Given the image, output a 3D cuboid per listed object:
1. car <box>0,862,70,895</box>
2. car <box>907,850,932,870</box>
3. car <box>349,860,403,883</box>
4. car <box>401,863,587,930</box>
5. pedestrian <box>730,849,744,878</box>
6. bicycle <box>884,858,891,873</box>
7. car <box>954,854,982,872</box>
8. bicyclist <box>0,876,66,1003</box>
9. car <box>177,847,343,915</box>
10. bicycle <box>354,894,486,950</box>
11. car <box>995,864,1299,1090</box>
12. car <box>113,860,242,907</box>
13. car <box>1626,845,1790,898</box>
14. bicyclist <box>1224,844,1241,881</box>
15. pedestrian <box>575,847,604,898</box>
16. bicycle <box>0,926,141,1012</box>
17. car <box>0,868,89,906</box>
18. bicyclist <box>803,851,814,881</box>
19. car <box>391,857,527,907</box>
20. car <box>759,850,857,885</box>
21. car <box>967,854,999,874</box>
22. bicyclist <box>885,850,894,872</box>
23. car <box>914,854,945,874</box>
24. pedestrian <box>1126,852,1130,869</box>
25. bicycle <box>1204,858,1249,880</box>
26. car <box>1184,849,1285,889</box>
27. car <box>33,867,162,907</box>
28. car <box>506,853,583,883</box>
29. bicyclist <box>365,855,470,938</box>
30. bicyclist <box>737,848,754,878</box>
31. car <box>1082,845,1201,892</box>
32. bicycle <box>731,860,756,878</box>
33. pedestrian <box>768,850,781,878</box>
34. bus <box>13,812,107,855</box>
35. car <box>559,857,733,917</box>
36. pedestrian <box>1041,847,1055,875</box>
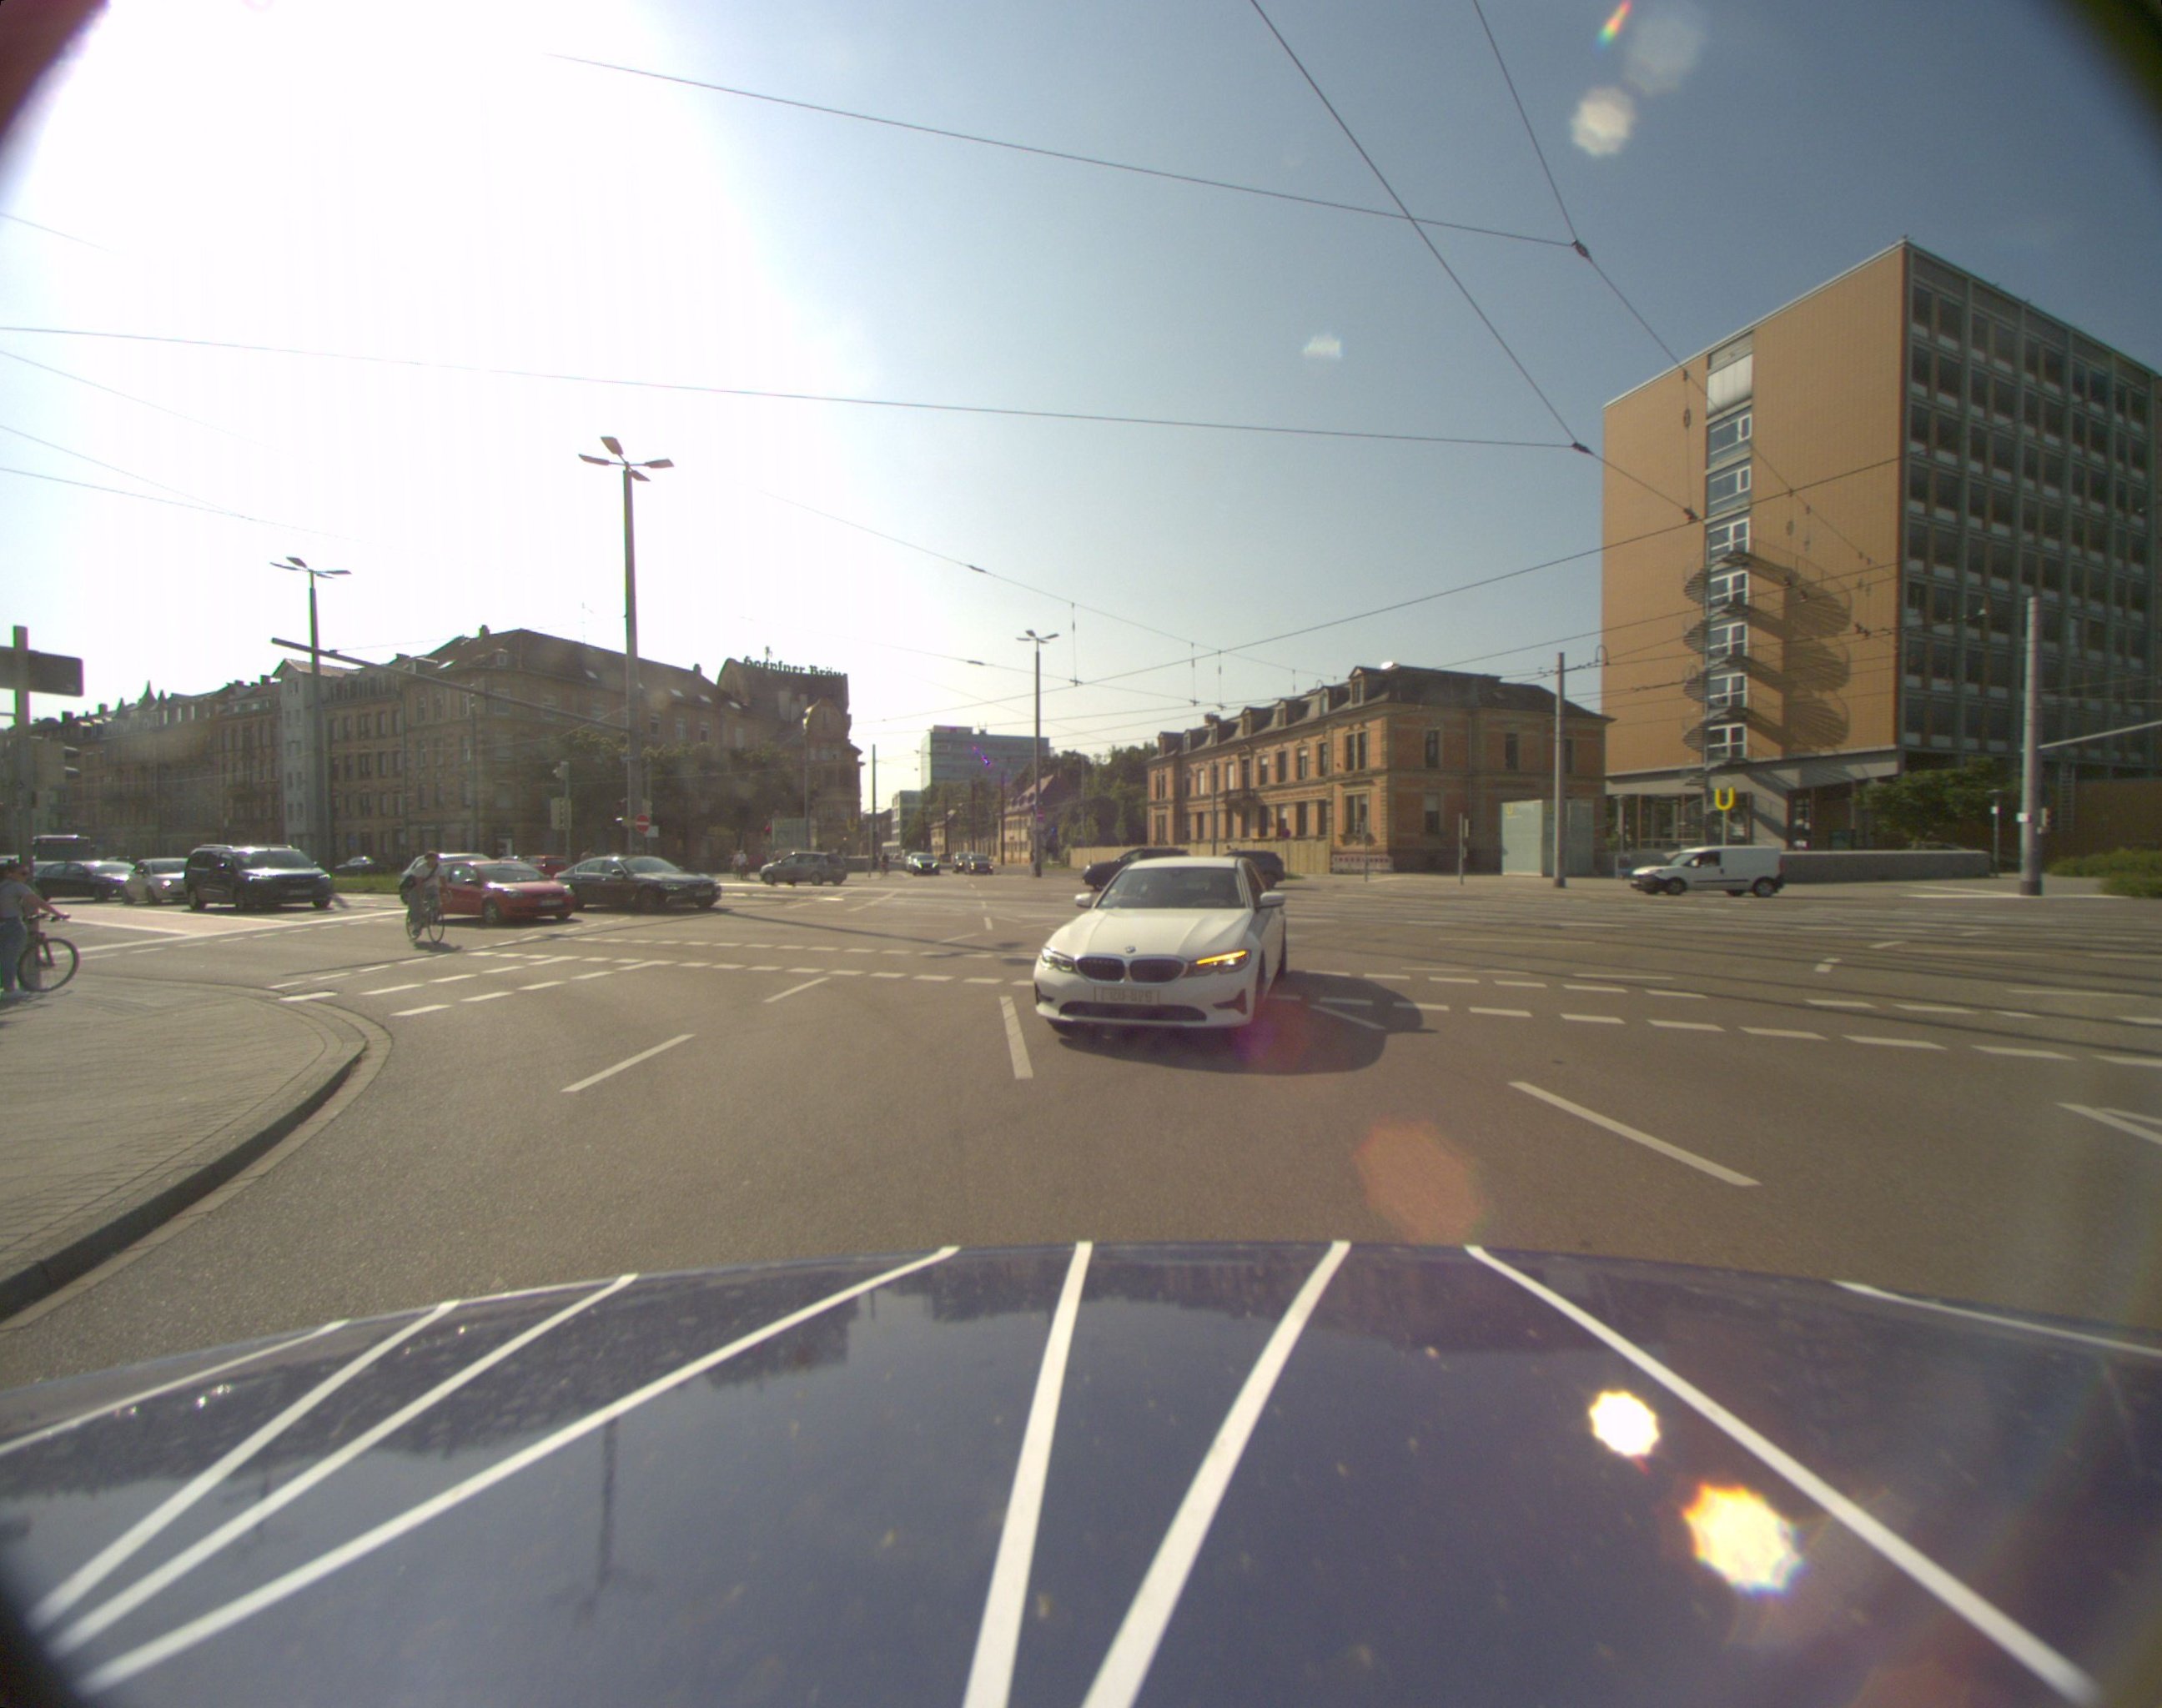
[{"bbox_3d":[-49.850,1.137,35.831,3.622,1.433,1.806,0,1,24],"label":"car"},{"bbox_3d":[-14.005,0.477,65.758,1.929,1.627,3.994,-1,1,-15],"label":"car"},{"bbox_3d":[-48.060,1.182,51.763,3.829,1.452,1.744,0,1,32],"label":"car"},{"bbox_3d":[-13.972,0.940,18.093,3.990,1.407,1.806,0,1,24],"label":"car"},{"bbox_3d":[-20.623,0.589,45.541,0.622,1.716,0.506,0,1,35],"label":"pedestrian"},{"bbox_3d":[-14.390,0.850,56.541,0.401,1.084,1.926,0,1,-13],"label":"bicycle"},{"bbox_3d":[-8.868,0.655,59.486,1.694,1.319,3.994,0,1,-15],"label":"car"},{"bbox_3d":[-12.538,0.973,8.738,0.729,1.418,0.821,0,0,16],"label":"bicyclist"},{"bbox_3d":[-24.018,0.717,22.208,4.761,1.817,1.806,0,1,24],"label":"car"},{"bbox_3d":[-12.430,1.261,14.293,2.194,0.984,0.529,0,2,8],"label":"bicycle"},{"bbox_3d":[1.050,0.885,7.625,1.811,1.419,4.781,-2,0,20],"label":"car"},{"bbox_3d":[-30.160,0.944,25.372,3.622,1.433,1.806,0,1,24],"label":"car"},{"bbox_3d":[22.820,0.644,27.835,4.282,1.875,1.797,0,-1,13],"label":"car"},{"bbox_3d":[7.663,0.428,38.467,0.709,1.851,0.783,0,1,21],"label":"bicyclist"},{"bbox_3d":[-16.661,0.621,25.771,0.596,1.720,0.526,0,1,19],"label":"pedestrian"},{"bbox_3d":[-12.517,1.346,8.731,0.567,0.888,2.079,1,-2,16],"label":"bicycle"},{"bbox_3d":[-44.170,1.357,32.165,3.622,1.433,1.806,0,1,24],"label":"car"},{"bbox_3d":[-15.690,0.668,43.782,0.588,1.720,0.594,-1,1,-21],"label":"bicyclist"},{"bbox_3d":[-19.140,0.806,23.409,3.548,1.427,1.806,0,1,24],"label":"car"},{"bbox_3d":[-13.220,0.634,36.851,4.280,1.614,1.818,0,0,19],"label":"car"},{"bbox_3d":[-6.967,0.685,53.552,1.694,1.319,3.994,0,1,-15],"label":"car"},{"bbox_3d":[-14.255,0.493,56.527,0.663,1.627,0.917,0,1,-14],"label":"bicyclist"},{"bbox_3d":[-11.121,0.707,55.763,1.929,1.368,3.994,0,1,-15],"label":"car"},{"bbox_3d":[4.132,0.568,67.026,0.237,1.522,0.326,0,1,-20],"label":"pedestrian"},{"bbox_3d":[7.412,0.759,38.596,2.182,1.089,0.530,0,1,21],"label":"bicycle"},{"bbox_3d":[6.342,0.618,31.489,3.969,1.572,1.746,0,0,12],"label":"car"},{"bbox_3d":[-35.043,1.130,27.085,3.623,1.275,1.806,0,1,21],"label":"car"},{"bbox_3d":[-27.158,0.675,38.435,3.770,1.439,1.680,0,0,29],"label":"car"},{"bbox_3d":[-12.379,0.762,14.208,0.971,1.467,1.088,0,1,7],"label":"bicyclist"},{"bbox_3d":[-19.523,0.531,44.162,0.646,1.707,0.588,0,1,17],"label":"bicyclist"},{"bbox_3d":[2.320,0.565,29.003,4.281,1.696,1.771,0,-1,14],"label":"car"},{"bbox_3d":[-19.593,0.884,44.109,0.433,1.019,1.528,0,0,17],"label":"bicycle"},{"bbox_3d":[-18.172,0.592,45.032,0.523,1.631,0.506,0,1,21],"label":"pedestrian"},{"bbox_3d":[-76.882,-1.448,57.139,11.465,2.967,2.904,0,1,30],"label":"bus"},{"bbox_3d":[-11.654,0.809,20.343,4.339,1.443,1.806,0,1,24],"label":"car"},{"bbox_3d":[-2.026,0.411,46.692,0.793,1.677,0.661,0,1,2],"label":"pedestrian"}]
